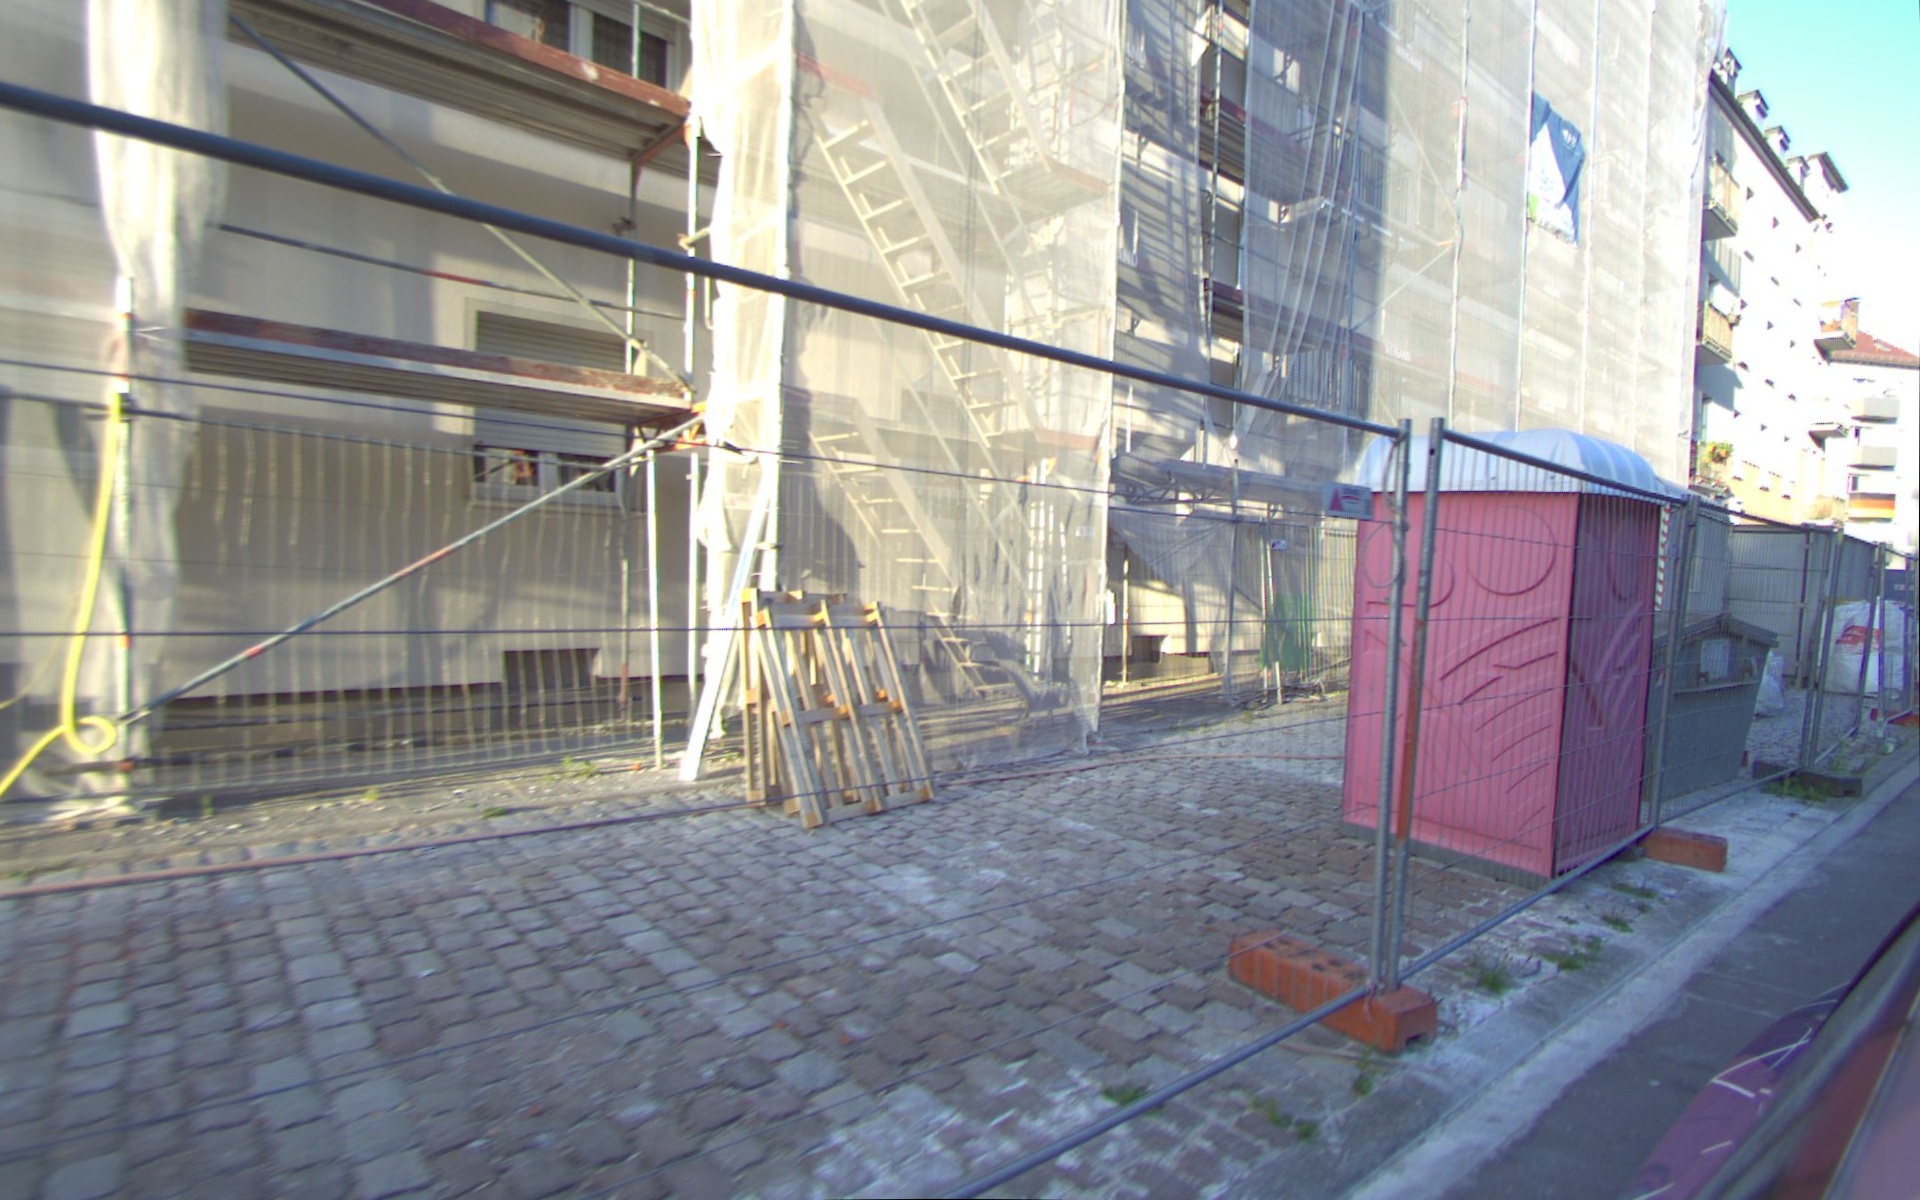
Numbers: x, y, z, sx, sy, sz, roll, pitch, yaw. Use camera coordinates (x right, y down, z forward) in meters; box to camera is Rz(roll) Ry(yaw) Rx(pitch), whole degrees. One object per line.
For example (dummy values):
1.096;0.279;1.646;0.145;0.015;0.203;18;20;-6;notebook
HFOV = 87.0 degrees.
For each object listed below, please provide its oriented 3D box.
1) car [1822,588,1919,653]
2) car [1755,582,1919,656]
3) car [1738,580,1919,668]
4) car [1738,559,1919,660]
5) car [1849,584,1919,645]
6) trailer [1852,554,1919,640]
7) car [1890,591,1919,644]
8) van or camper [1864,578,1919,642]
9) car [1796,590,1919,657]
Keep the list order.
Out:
26.174;0.582;27.501;1.871;1.658;3.992;0;2;-43;car
22.109;0.444;24.937;1.715;1.630;3.698;0;2;-42;car
18.904;0.472;20.891;1.838;1.635;4.164;1;2;-38;car
20.590;0.222;23.022;1.791;2.003;4.272;2;4;-44;car
29.592;0.474;30.498;1.966;1.749;3.994;-1;3;-41;car
28.196;-0.024;29.057;1.908;2.365;3.573;0;4;-43;trailer
31.970;0.620;31.690;1.966;1.660;3.994;0;3;-42;car
33.669;0.397;33.847;2.005;2.122;4.844;1;2;-41;van or camper
24.330;0.603;26.178;1.759;1.591;3.969;0;2;-43;car
